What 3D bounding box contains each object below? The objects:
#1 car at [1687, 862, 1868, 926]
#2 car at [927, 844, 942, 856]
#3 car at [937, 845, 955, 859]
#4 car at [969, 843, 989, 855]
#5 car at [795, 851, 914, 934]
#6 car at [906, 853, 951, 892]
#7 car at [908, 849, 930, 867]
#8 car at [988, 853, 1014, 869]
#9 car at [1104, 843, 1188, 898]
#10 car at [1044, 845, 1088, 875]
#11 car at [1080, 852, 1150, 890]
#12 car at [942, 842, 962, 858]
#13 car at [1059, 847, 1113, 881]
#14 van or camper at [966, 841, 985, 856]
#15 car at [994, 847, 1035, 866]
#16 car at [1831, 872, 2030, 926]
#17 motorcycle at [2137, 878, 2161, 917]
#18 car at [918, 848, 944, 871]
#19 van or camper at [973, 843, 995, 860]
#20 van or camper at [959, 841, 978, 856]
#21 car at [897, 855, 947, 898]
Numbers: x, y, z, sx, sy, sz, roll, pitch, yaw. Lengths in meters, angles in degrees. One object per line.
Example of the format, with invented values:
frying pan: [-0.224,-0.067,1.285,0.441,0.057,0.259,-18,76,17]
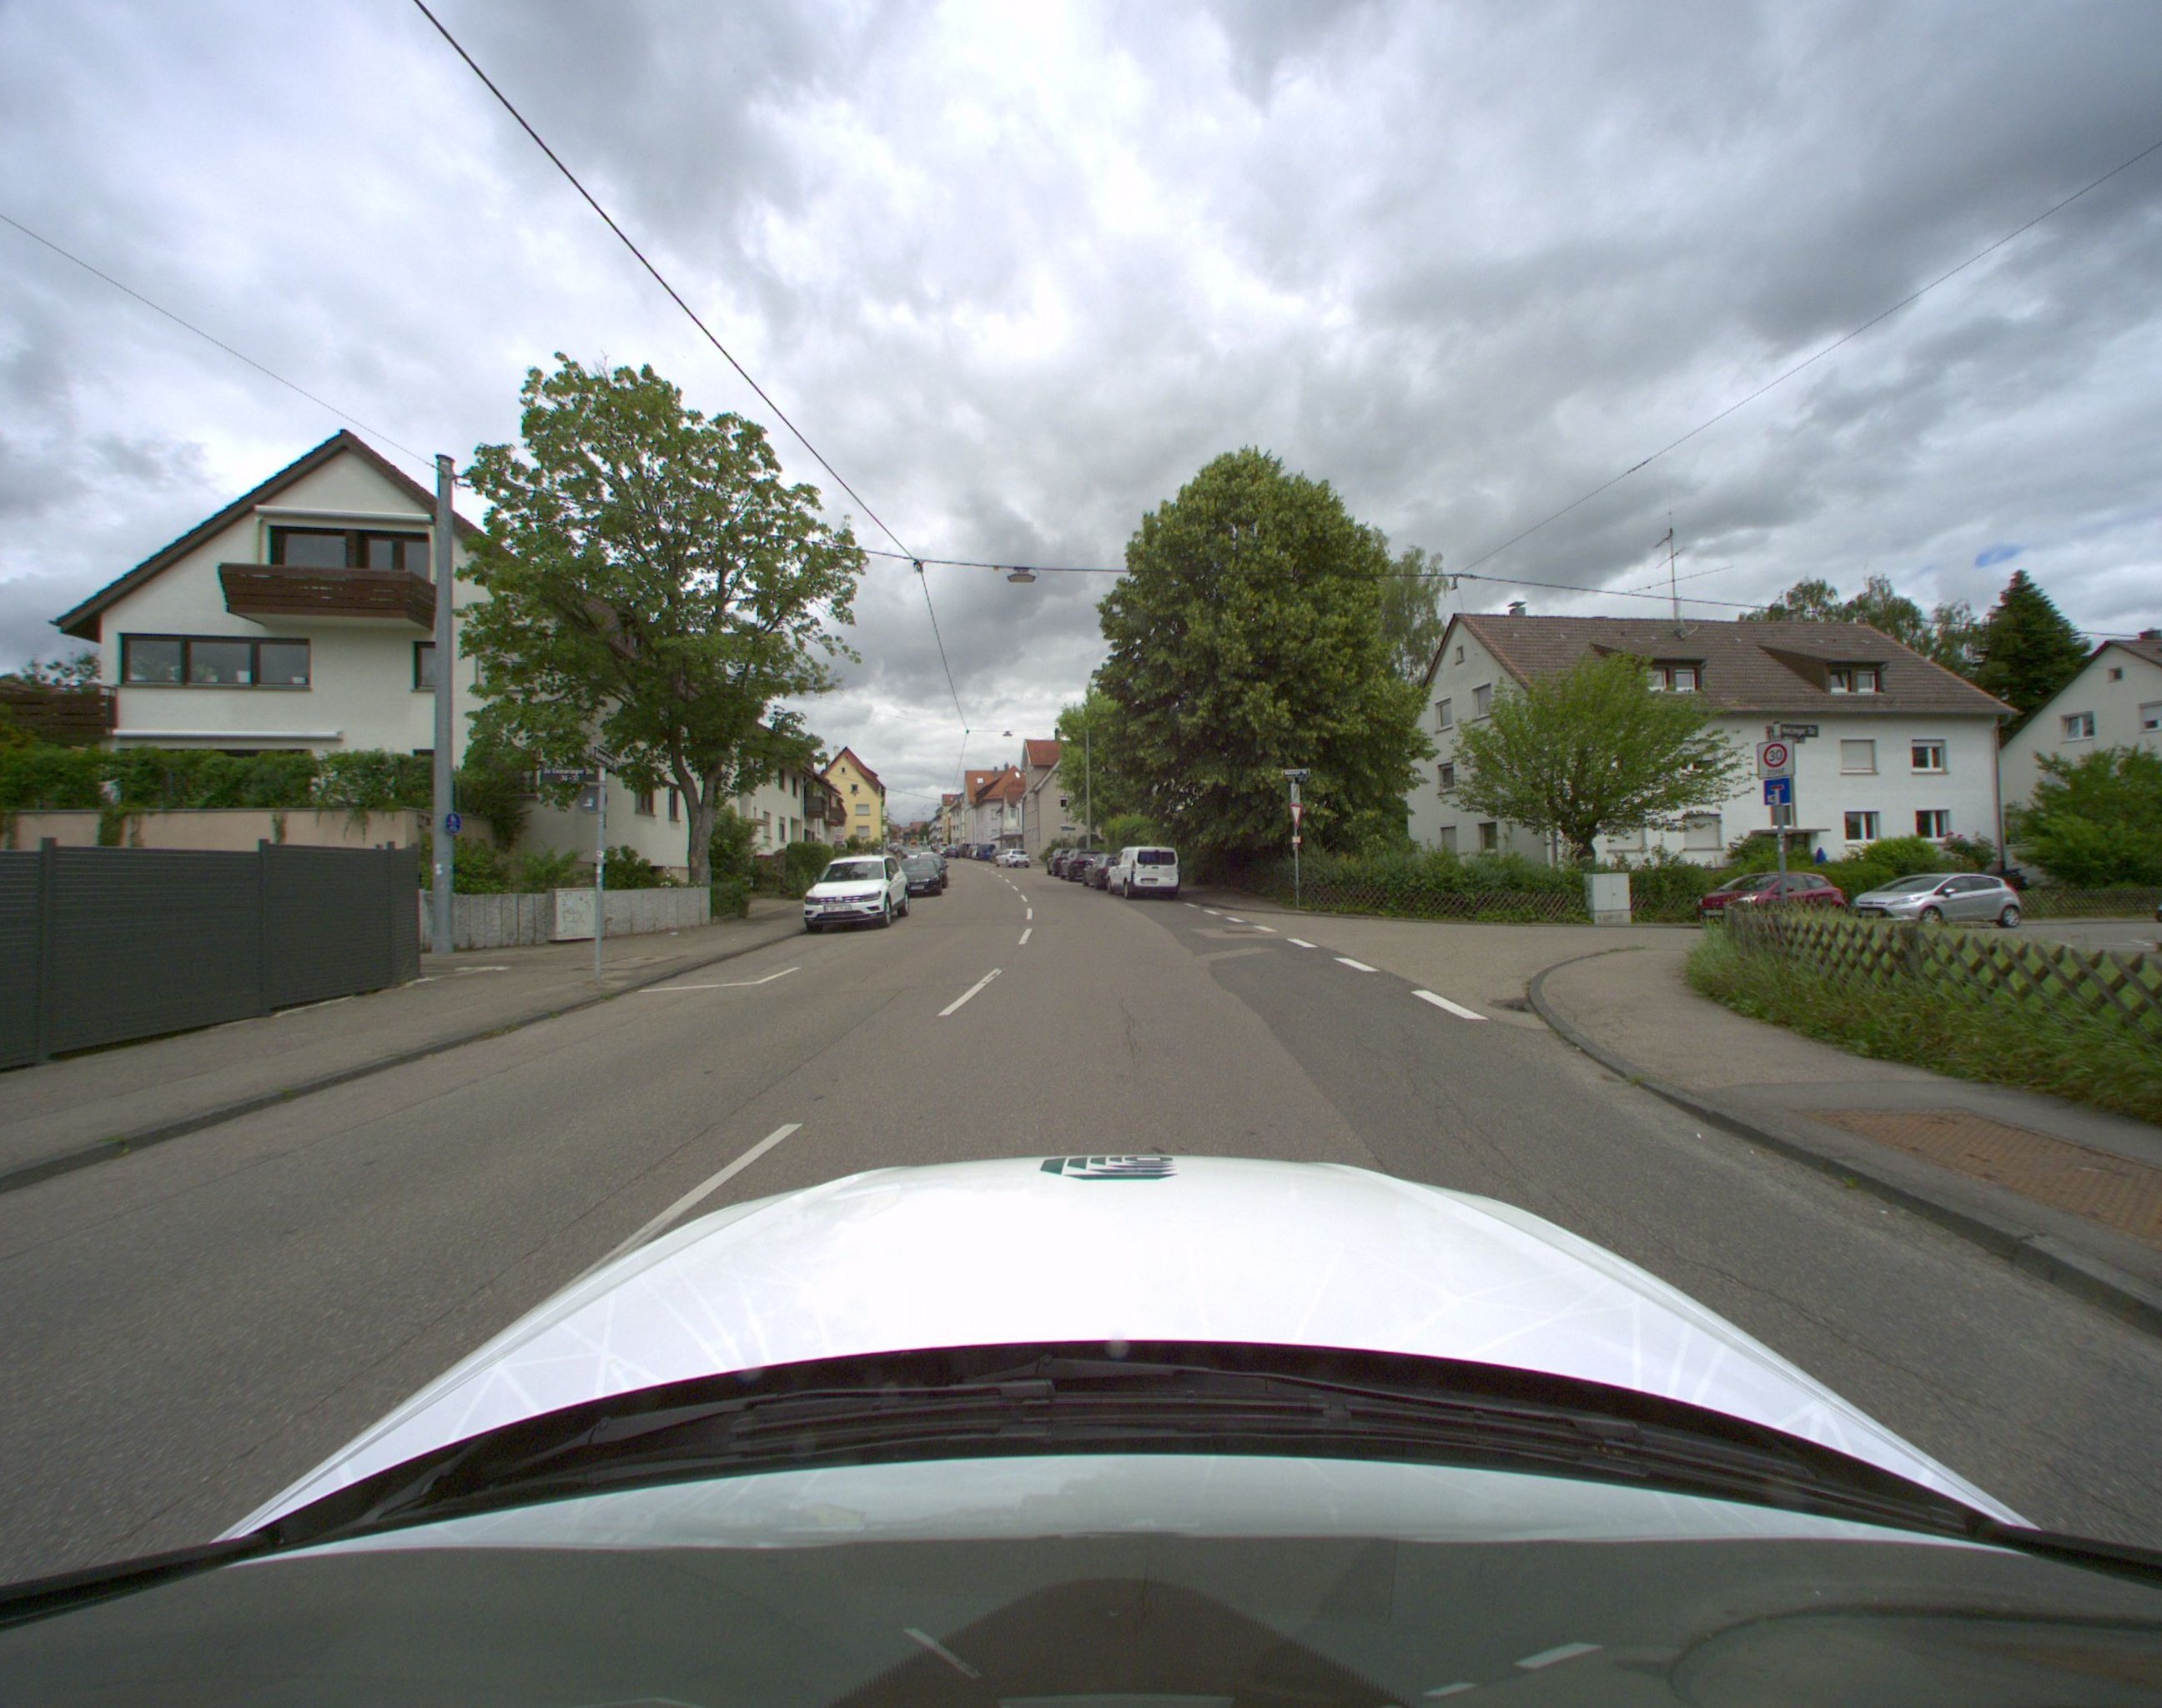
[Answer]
car: [18.038,1.056,21.137,3.701,1.564,1.679,1,-3,-13]
car: [-24.248,-0.685,134.577,2.156,2.013,3.980,0,0,-15]
car: [-19.621,-0.309,118.471,2.156,2.013,3.980,0,0,-15]
car: [-12.497,-0.596,99.556,1.717,1.435,4.616,1,1,-15]
car: [-5.375,0.820,19.942,1.846,1.714,4.568,-3,0,-4]
car: [-6.826,0.781,36.760,1.762,1.438,4.065,-5,1,-9]
car: [-16.771,0.386,84.542,1.832,1.577,4.022,-4,1,-7]
car: [-8.164,0.669,82.734,1.996,1.517,4.868,1,0,-14]
car: [2.211,0.522,28.868,1.838,1.774,4.301,1,1,-11]
car: [-0.901,0.340,46.538,1.811,1.615,4.524,1,0,-10]
car: [1.346,0.660,34.413,1.993,1.478,4.604,-1,0,-10]
car: [-16.646,-0.506,104.830,2.156,2.013,3.980,0,0,-15]
car: [0.184,0.485,41.033,1.993,1.615,4.524,1,0,-10]
van or camper: [-13.627,-0.761,105.177,1.874,1.828,4.657,1,1,-15]
car: [-5.193,0.161,63.396,1.950,1.439,3.968,0,1,-25]
car: [22.656,1.194,21.804,3.724,1.369,1.839,0,-2,-7]
motorcycle: [31.822,1.257,23.365,0.539,1.138,1.797,1,-2,-42]
car: [-11.160,0.381,60.435,1.727,1.458,3.883,-4,1,-12]
van or camper: [-11.197,-0.299,93.736,1.930,1.925,4.806,0,0,-15]
van or camper: [-15.620,-0.801,112.894,1.996,2.065,5.916,2,0,-14]
car: [-6.184,0.815,31.931,1.763,1.438,4.064,-3,1,-10]
